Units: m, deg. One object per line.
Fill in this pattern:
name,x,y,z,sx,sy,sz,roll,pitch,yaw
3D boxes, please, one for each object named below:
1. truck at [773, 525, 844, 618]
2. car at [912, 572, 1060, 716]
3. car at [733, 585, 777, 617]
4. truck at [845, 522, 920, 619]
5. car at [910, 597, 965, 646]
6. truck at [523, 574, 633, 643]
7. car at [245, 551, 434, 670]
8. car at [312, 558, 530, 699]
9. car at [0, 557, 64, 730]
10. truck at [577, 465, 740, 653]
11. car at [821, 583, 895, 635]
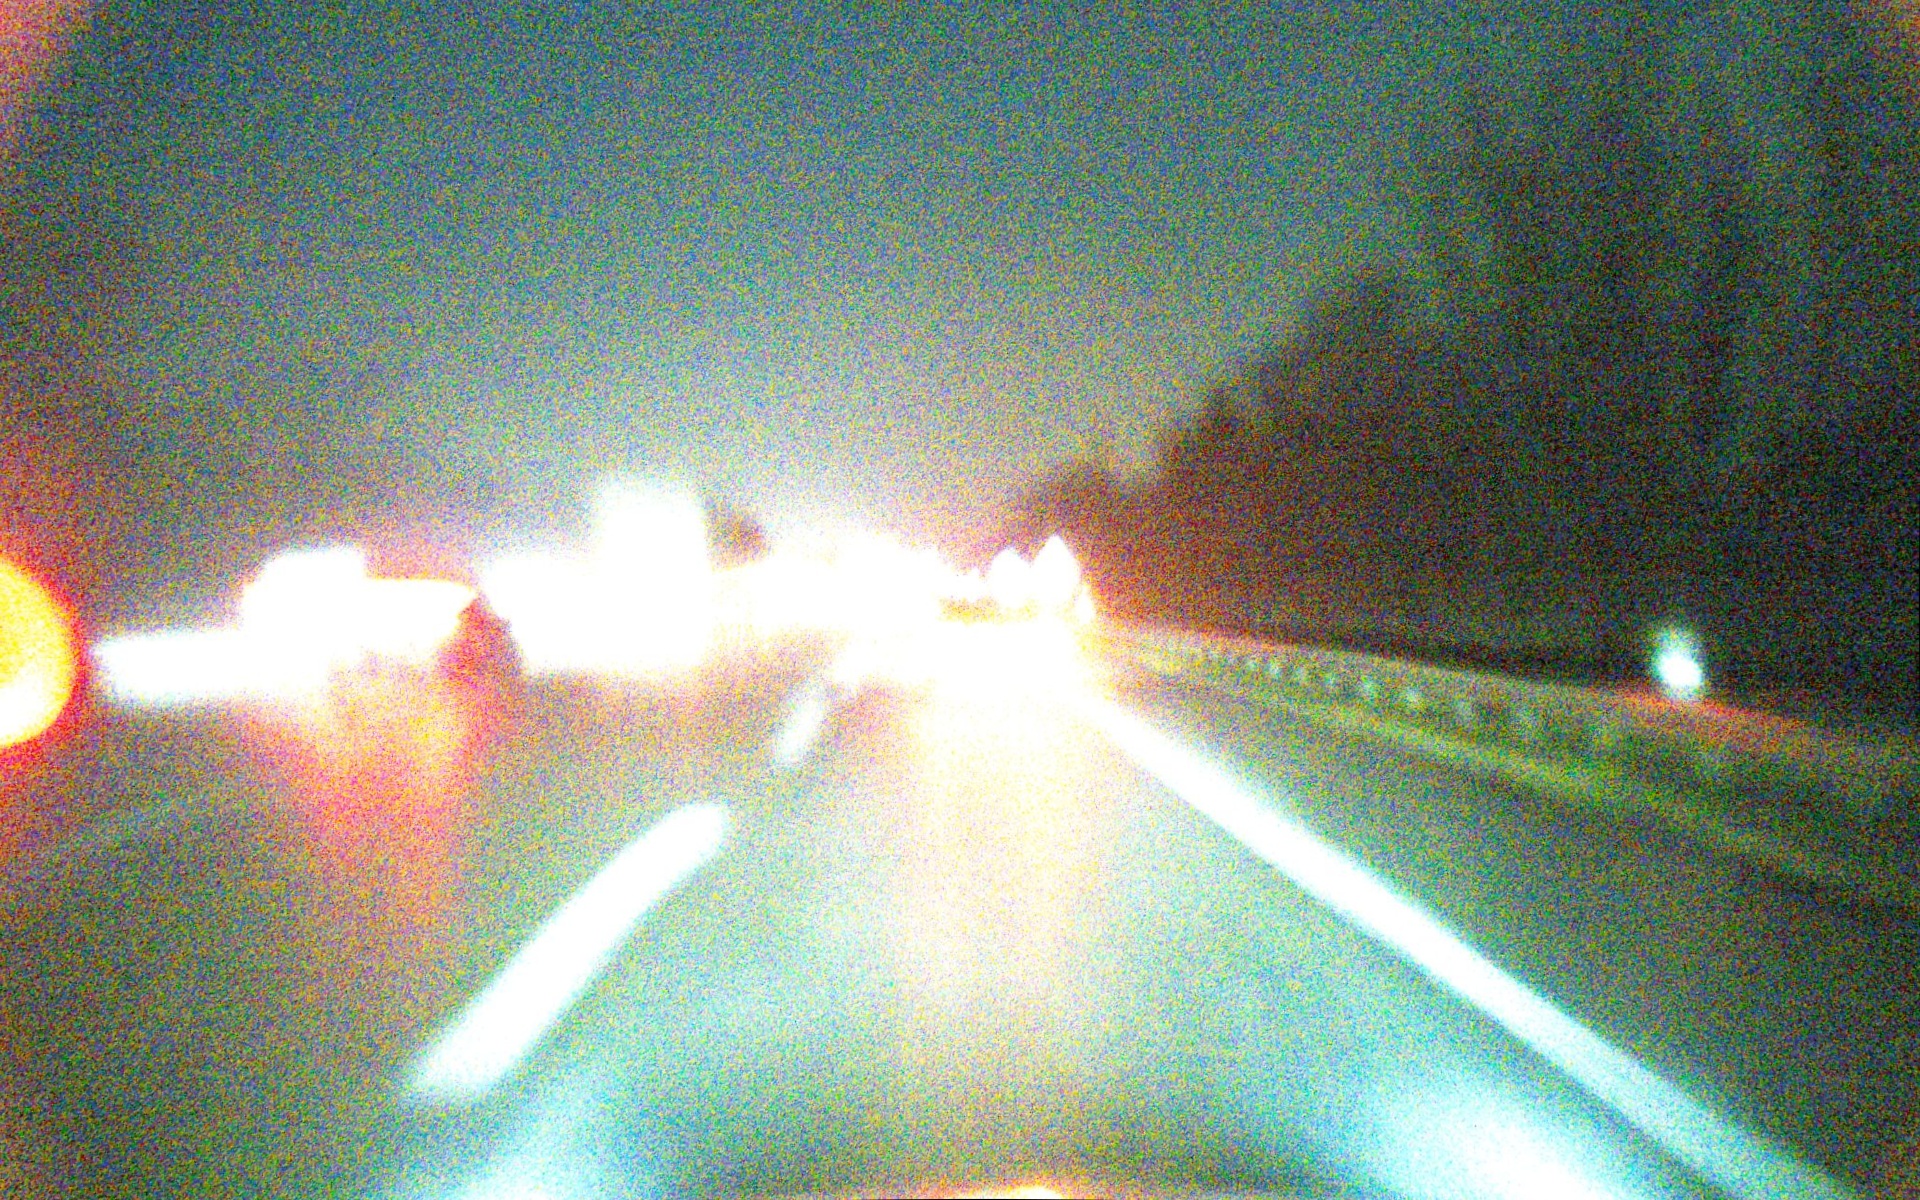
truck,-9.592,-1.734,105.998,4.170,5.539,10.875,1,0,-4
car,0.329,0.558,23.025,1.839,1.793,4.000,1,0,0
car,-11.711,0.075,94.578,1.953,1.733,4.458,1,0,-1
truck,-4.615,-1.657,97.505,4.079,5.306,9.947,1,0,-3
car,-0.824,0.763,62.107,1.953,1.733,4.458,1,0,-1
truck,-13.420,0.288,58.598,2.800,2.239,5.854,1,0,-3
car,-12.213,0.167,33.006,2.082,2.141,5.623,1,0,-5
car,-7.580,0.368,23.733,1.999,1.792,4.510,1,0,-6
car,-10.386,0.433,15.798,1.731,1.718,3.996,1,1,-5
truck,-8.528,-1.073,48.146,3.585,4.820,9.843,1,0,-5
car,-4.271,0.375,70.289,2.775,2.049,5.510,1,0,0
